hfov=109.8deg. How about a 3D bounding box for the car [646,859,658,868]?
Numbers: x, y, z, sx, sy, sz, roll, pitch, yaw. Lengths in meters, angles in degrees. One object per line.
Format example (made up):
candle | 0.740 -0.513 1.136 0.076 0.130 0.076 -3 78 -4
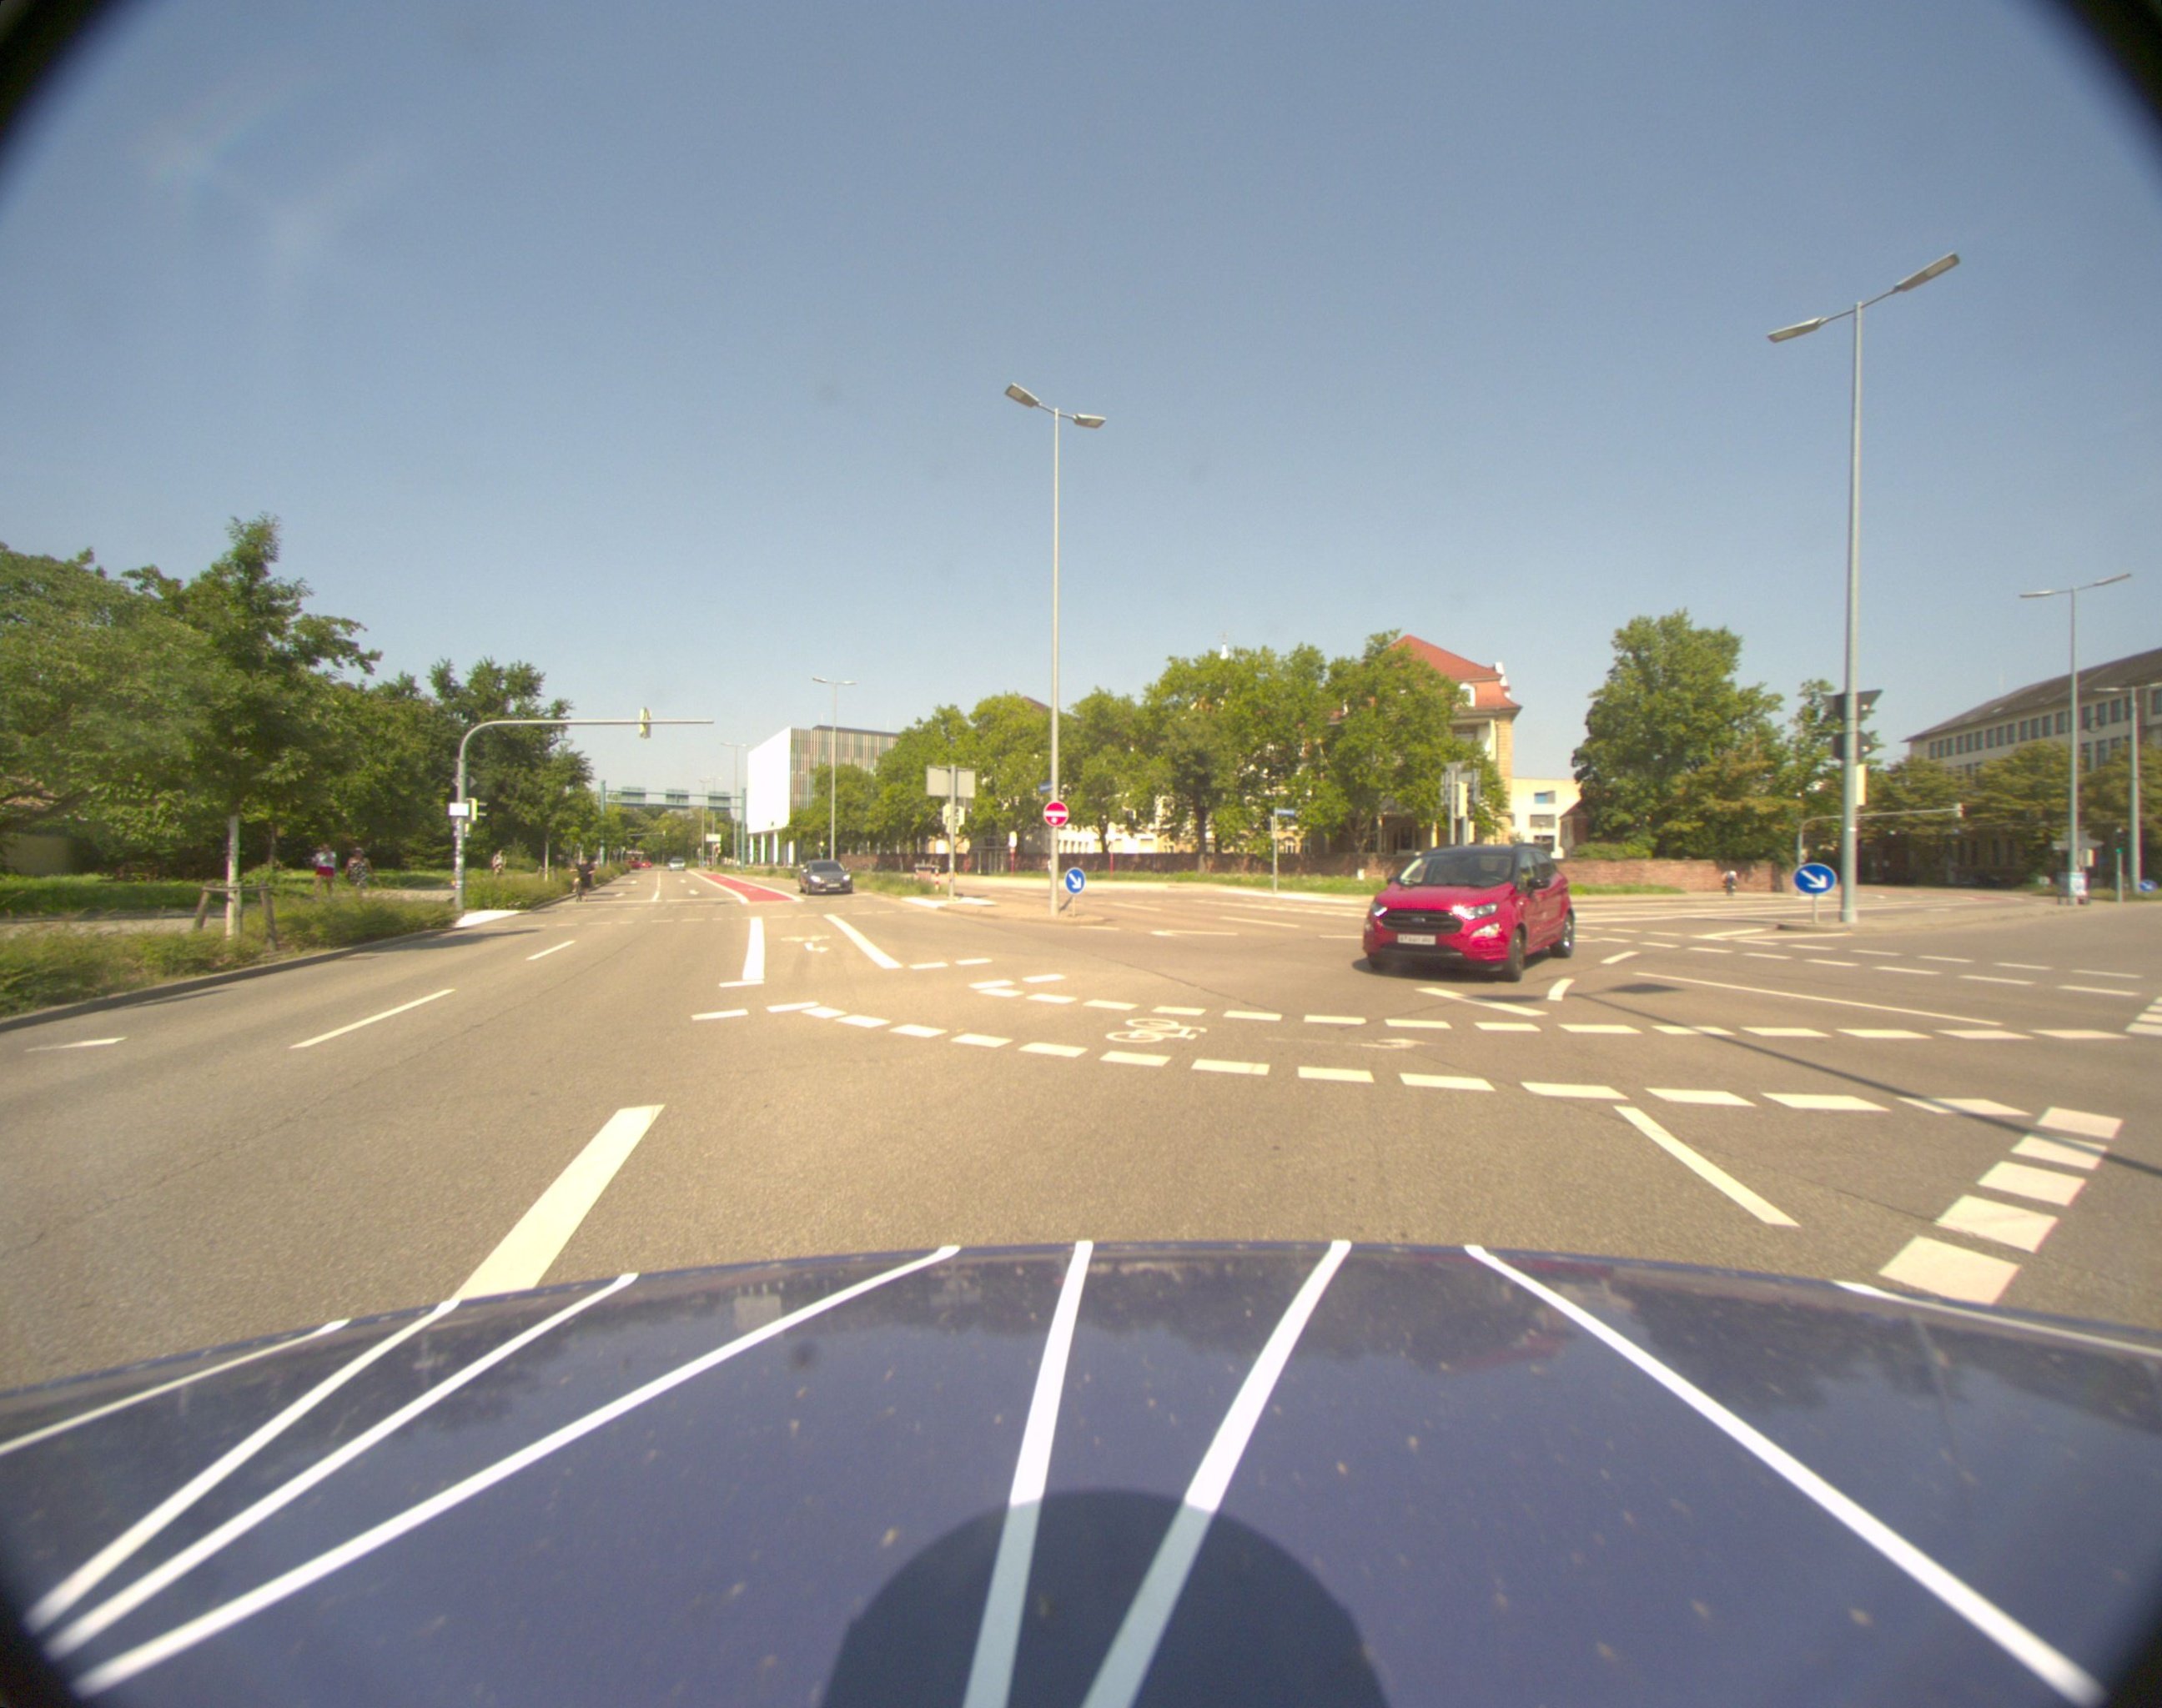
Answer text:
car | -85.729 1.873 151.733 2.003 1.769 3.991 0 0 -29

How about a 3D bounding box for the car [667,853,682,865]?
car | -61.462 0.805 114.911 2.003 1.769 3.991 0 0 -29

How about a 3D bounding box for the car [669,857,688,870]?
car | -50.488 1.161 95.220 2.003 1.669 3.991 0 0 -29

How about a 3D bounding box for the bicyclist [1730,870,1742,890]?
bicyclist | 39.593 1.555 45.924 0.541 1.226 0.432 0 0 -35

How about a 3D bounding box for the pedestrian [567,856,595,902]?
pedestrian | -18.297 0.897 27.822 0.782 1.659 0.547 0 0 -28

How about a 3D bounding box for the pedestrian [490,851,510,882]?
pedestrian | -32.865 0.701 42.978 0.795 1.758 0.824 0 0 -28

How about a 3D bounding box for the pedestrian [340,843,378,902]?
pedestrian | -21.781 0.548 22.937 0.695 1.761 0.586 0 0 -28

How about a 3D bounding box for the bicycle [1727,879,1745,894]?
bicycle | 39.589 1.960 45.926 1.489 0.807 0.436 0 1 -35

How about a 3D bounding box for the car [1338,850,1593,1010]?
car | 5.209 0.788 10.052 4.008 1.605 1.840 -2 2 -45

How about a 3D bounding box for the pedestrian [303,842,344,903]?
pedestrian | -22.454 0.546 22.534 0.695 1.761 0.586 0 0 -28

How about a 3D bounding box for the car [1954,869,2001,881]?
car | 97.438 2.261 82.596 3.051 1.169 1.253 1 0 18

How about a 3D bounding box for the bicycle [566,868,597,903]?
bicycle | -18.354 1.143 27.930 0.787 1.205 1.785 1 0 -28

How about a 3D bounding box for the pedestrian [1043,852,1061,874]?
pedestrian | -2.648 0.870 70.510 1.231 2.002 1.074 1 0 38

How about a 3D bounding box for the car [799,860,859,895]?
car | -10.646 0.939 31.956 1.794 1.349 3.416 -1 1 -29
